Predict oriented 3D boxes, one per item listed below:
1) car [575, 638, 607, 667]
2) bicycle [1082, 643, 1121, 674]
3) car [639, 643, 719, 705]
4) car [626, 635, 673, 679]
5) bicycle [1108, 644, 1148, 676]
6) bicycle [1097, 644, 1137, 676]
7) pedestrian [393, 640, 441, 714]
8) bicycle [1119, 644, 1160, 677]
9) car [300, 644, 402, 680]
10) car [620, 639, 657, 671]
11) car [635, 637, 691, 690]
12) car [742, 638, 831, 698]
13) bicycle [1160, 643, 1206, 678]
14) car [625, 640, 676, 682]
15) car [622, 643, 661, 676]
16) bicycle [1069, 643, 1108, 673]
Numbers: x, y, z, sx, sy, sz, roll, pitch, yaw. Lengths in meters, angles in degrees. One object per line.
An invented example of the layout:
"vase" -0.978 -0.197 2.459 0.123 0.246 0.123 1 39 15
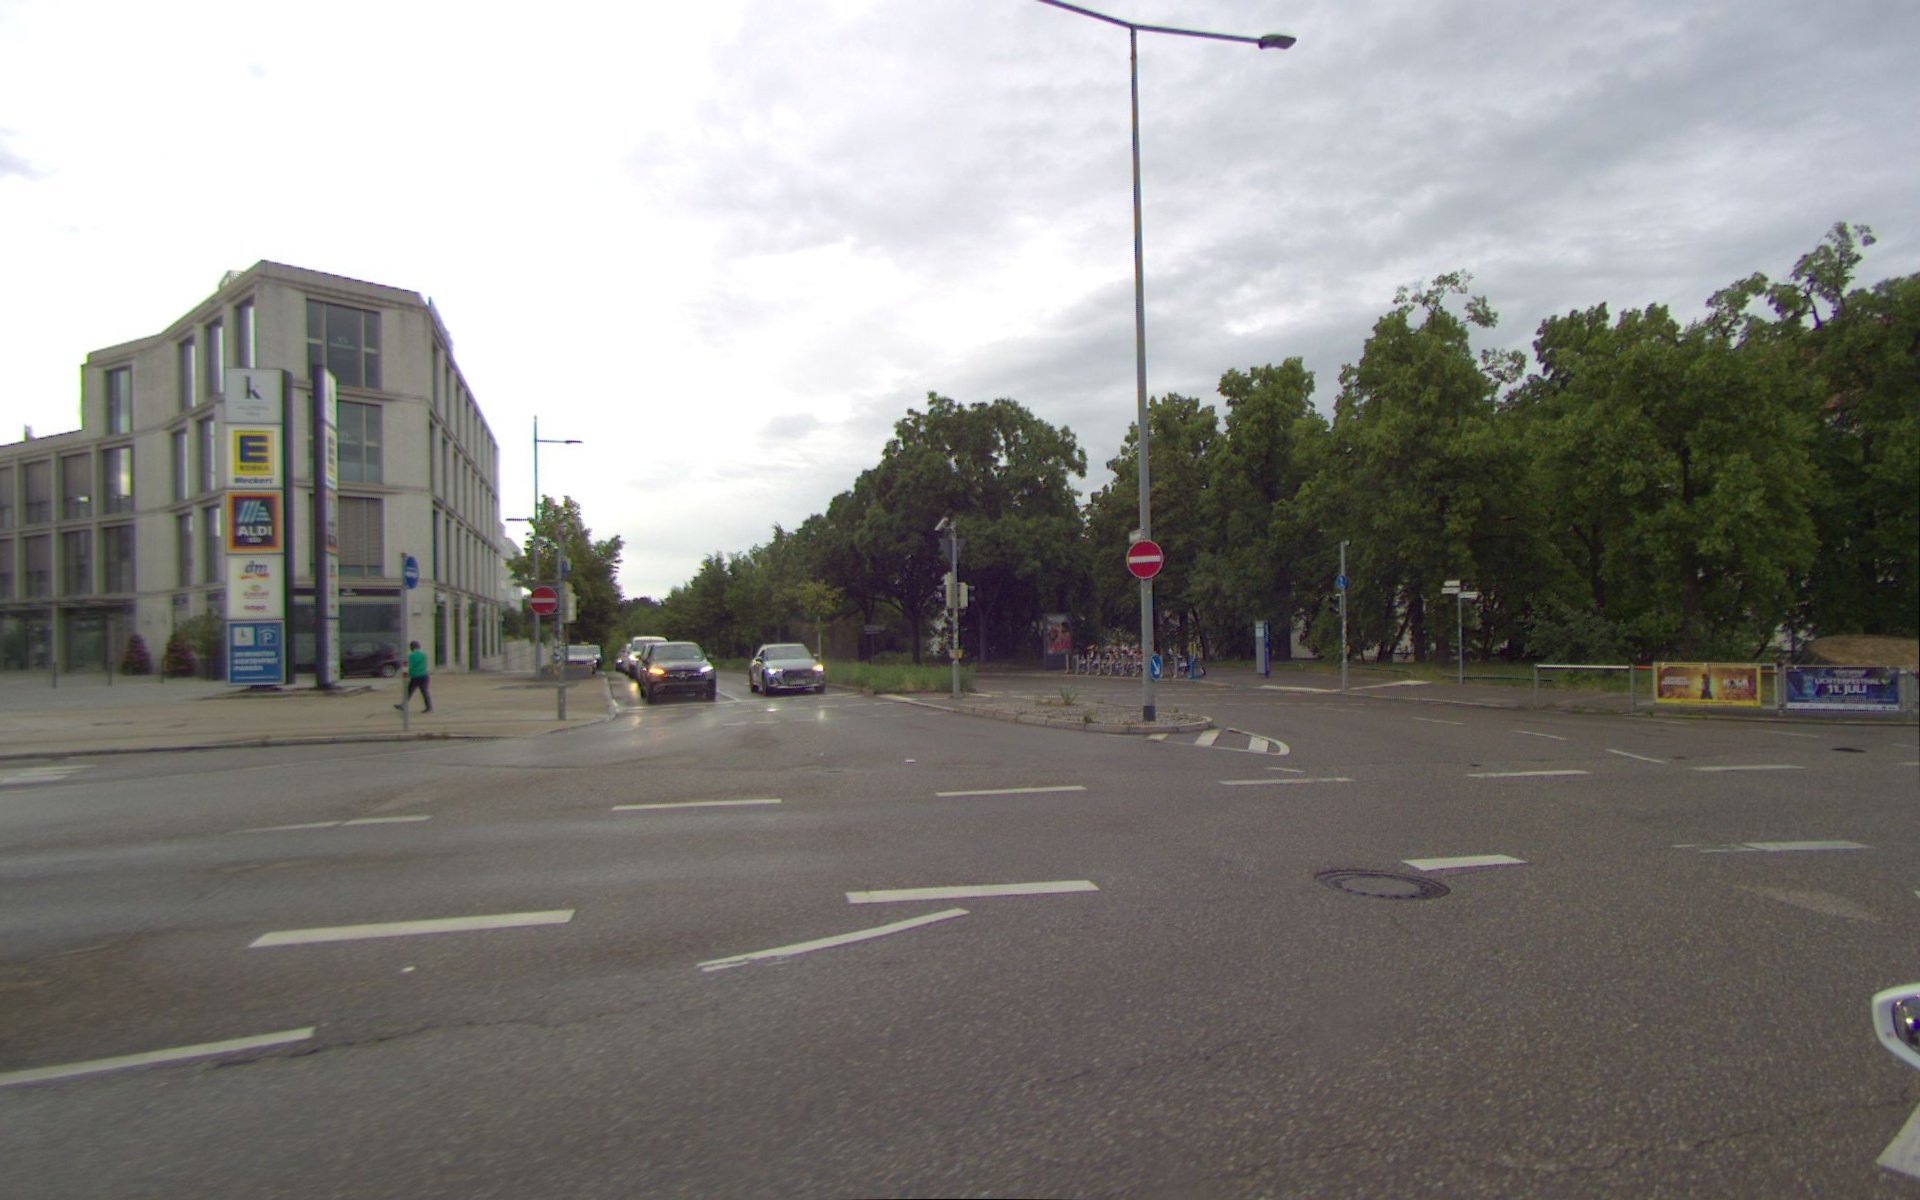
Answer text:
"car" -26.422 3.741 71.876 1.972 2.040 3.978 1 -2 -23
"bicycle" 5.784 2.390 40.968 1.471 1.146 0.553 -3 -2 -28
"car" -8.185 2.075 29.048 1.804 1.539 4.043 -2 -1 -22
"car" -14.141 2.546 45.599 1.821 1.826 4.751 1 -2 -20
"bicycle" 6.559 2.339 39.218 1.471 1.146 0.553 -3 -2 -28
"bicycle" 6.257 2.371 39.923 1.471 1.146 0.553 -3 -2 -28
"pedestrian" -12.837 1.802 23.764 0.667 1.708 0.752 0 -2 9
"bicycle" 6.874 2.314 38.474 1.471 1.146 0.553 -3 -2 -28
"car" -24.796 2.504 40.982 1.546 1.394 3.277 -2 -3 43
"car" -18.446 3.119 57.533 1.807 1.622 4.653 -1 -1 -20
"car" -10.515 2.190 35.481 1.630 1.597 3.686 -3 0 -20
"car" -5.308 1.979 30.277 1.827 1.596 4.144 1 -1 -22
"bicycle" 8.001 2.174 36.070 1.580 1.146 0.553 -3 -2 -28
"car" -12.363 2.401 39.993 1.695 1.479 3.732 -1 -1 -21
"car" -16.205 2.985 50.990 1.723 1.487 4.042 -1 -1 -20
"bicycle" 5.353 2.404 41.837 1.471 1.146 0.553 -3 -2 -28
